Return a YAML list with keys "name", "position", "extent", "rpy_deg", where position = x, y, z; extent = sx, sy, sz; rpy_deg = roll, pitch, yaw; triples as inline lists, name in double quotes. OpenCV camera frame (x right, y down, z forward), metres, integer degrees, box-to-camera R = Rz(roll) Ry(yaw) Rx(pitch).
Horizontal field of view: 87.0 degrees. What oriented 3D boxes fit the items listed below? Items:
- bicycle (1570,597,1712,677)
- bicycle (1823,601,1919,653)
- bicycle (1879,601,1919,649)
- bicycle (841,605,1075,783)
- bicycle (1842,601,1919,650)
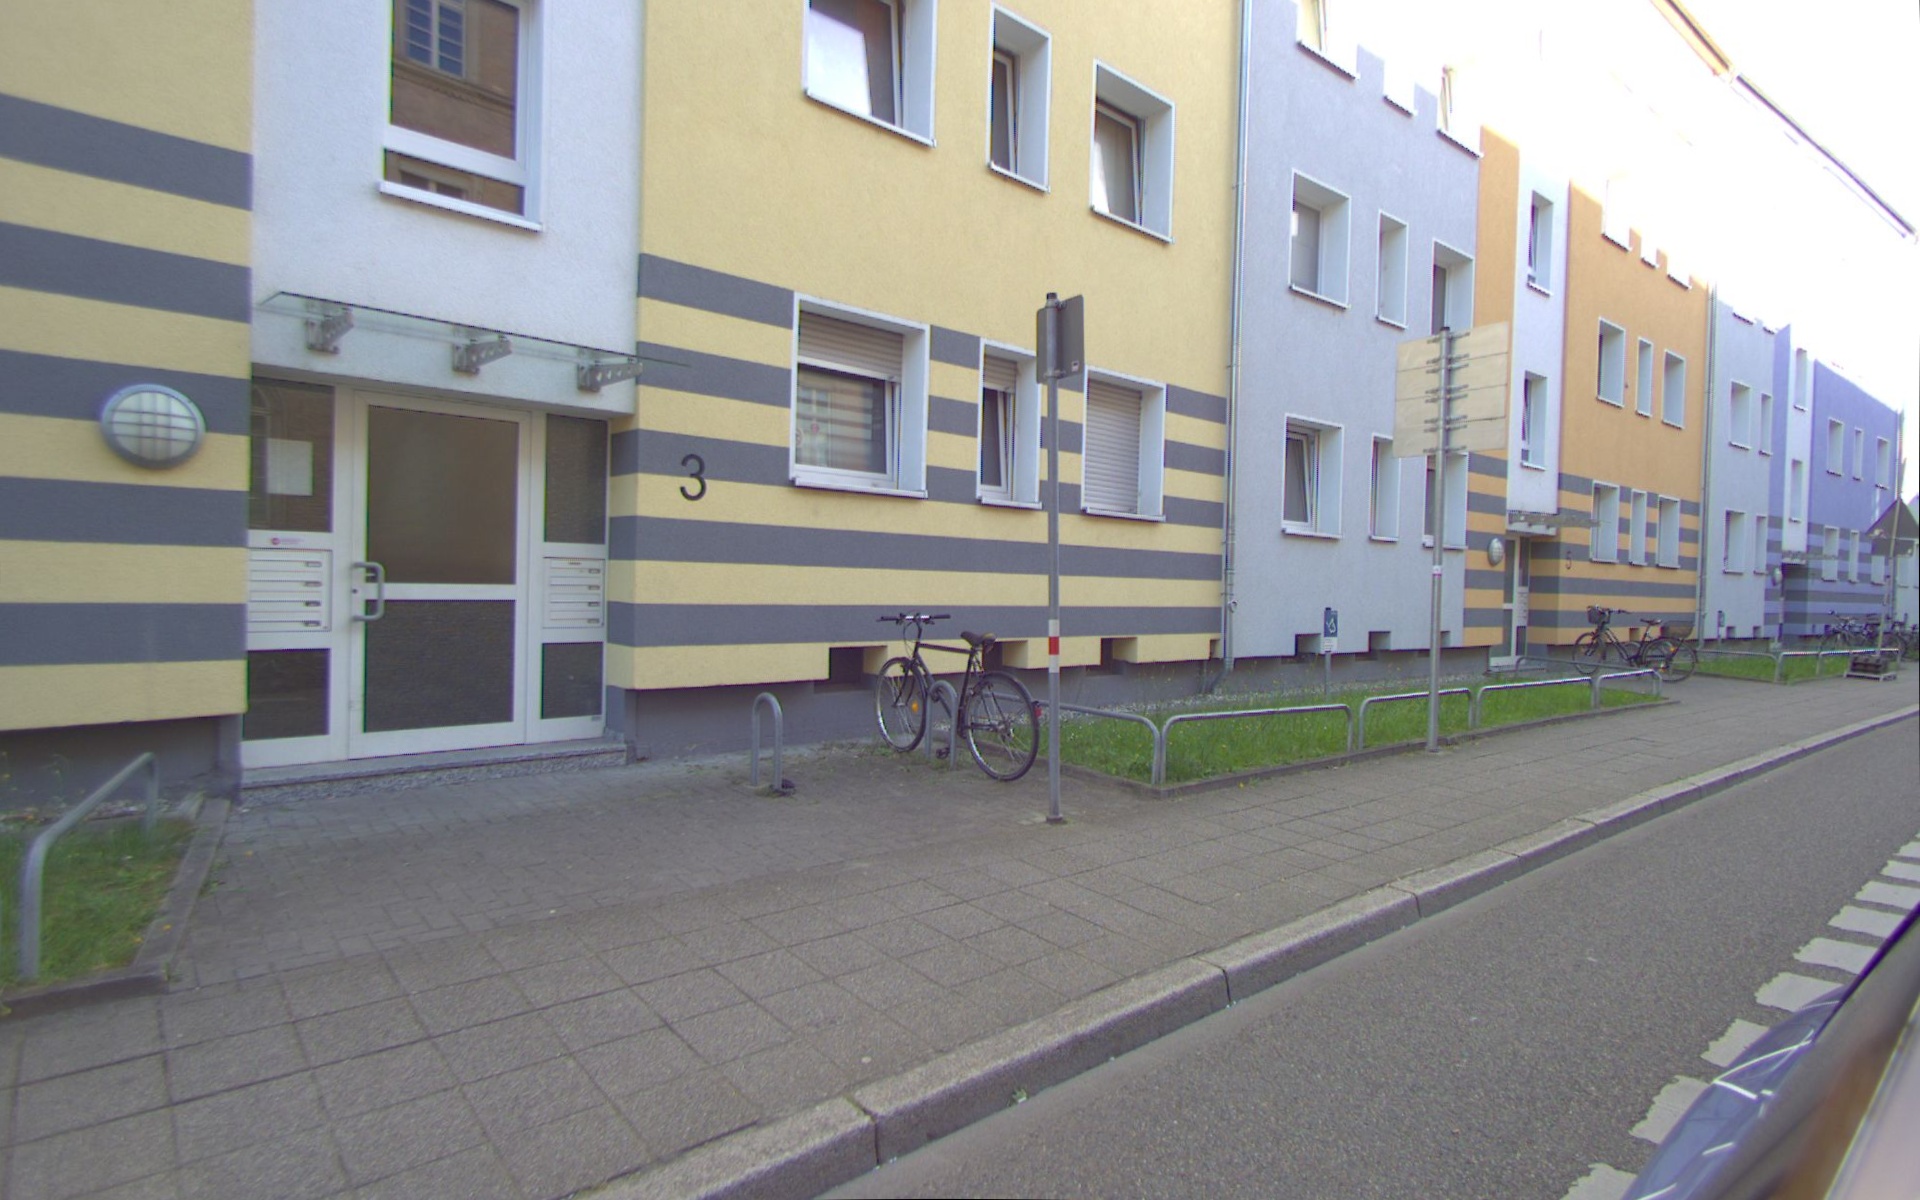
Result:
- name: "bicycle"
  position: [10.698, 0.555, 15.949]
  extent: [1.775, 1.137, 0.476]
  rpy_deg: [3, 1, 44]
- name: "bicycle"
  position: [22.237, 0.649, 24.732]
  extent: [0.475, 1.166, 1.678]
  rpy_deg: [1, 1, -37]
- name: "bicycle"
  position: [24.146, 0.643, 25.280]
  extent: [0.475, 1.166, 1.678]
  rpy_deg: [1, 1, -37]
- name: "bicycle"
  position: [-0.065, 0.584, 7.022]
  extent: [1.775, 1.031, 0.476]
  rpy_deg: [3, 1, 44]
- name: "bicycle"
  position: [23.318, 0.632, 25.424]
  extent: [0.475, 1.166, 1.678]
  rpy_deg: [1, 1, -37]
